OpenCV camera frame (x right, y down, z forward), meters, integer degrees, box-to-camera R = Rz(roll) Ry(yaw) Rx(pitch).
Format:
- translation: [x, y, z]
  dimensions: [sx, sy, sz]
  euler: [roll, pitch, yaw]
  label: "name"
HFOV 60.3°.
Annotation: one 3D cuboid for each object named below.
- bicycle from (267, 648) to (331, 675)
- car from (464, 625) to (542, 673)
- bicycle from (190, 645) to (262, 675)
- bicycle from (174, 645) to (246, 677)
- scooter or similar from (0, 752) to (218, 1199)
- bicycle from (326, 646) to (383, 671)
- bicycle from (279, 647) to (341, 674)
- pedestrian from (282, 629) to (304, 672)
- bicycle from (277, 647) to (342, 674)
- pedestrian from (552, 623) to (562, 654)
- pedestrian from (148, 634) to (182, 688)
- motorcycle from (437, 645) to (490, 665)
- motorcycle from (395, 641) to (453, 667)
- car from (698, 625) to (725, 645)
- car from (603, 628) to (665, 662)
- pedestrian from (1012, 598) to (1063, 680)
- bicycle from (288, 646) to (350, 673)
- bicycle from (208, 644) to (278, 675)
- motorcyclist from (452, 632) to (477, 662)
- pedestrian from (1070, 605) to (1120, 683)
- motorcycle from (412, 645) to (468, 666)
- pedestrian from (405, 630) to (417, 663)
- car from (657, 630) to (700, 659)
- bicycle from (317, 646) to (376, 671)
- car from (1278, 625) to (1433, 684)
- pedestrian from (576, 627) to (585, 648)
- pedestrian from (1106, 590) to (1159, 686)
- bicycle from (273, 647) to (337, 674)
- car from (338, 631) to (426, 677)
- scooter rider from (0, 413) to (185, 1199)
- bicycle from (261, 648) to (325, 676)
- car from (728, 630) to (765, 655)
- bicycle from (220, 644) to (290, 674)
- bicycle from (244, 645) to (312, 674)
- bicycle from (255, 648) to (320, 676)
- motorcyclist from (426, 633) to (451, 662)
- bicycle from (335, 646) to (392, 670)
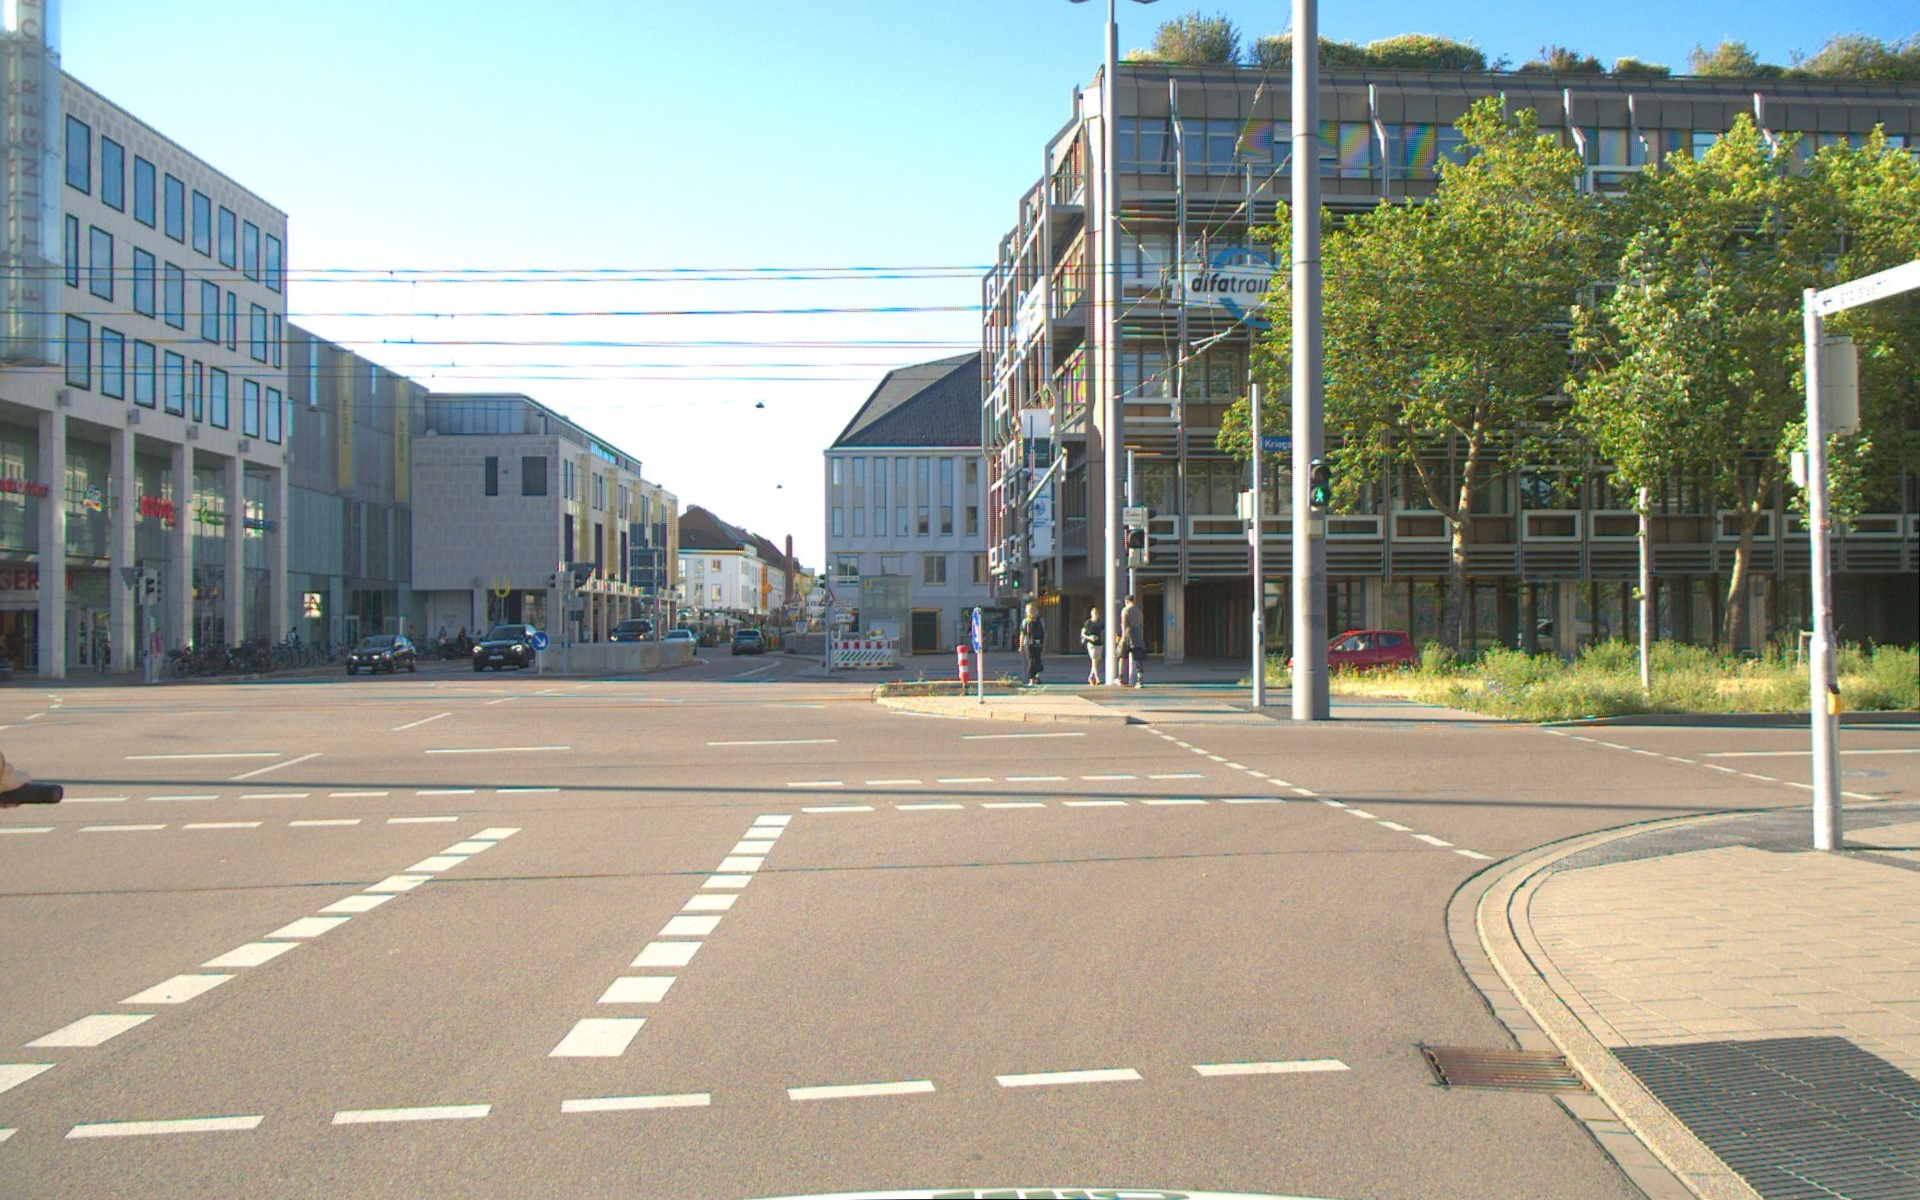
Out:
- translation: [-27.563, 2.563, 69.004]
  dimensions: [2.416, 1.130, 0.684]
  euler: [0, -1, 1]
  label: "bicycle"
- translation: [-16.782, 1.789, 60.920]
  dimensions: [1.899, 1.707, 4.290]
  euler: [0, -1, -4]
  label: "car"
- translation: [-27.619, 2.256, 62.259]
  dimensions: [2.417, 1.130, 0.684]
  euler: [0, -1, 1]
  label: "bicycle"
- translation: [-27.607, 2.239, 60.913]
  dimensions: [2.353, 1.132, 0.658]
  euler: [0, -1, 0]
  label: "bicycle"
- translation: [-1.888, 0.914, 2.787]
  dimensions: [0.629, 1.196, 1.483]
  euler: [1, -1, -2]
  label: "scooter or similar"
- translation: [-28.154, 2.705, 76.969]
  dimensions: [2.416, 1.130, 0.660]
  euler: [0, -1, 1]
  label: "bicycle"
- translation: [-28.130, 2.600, 71.564]
  dimensions: [2.416, 1.130, 0.684]
  euler: [0, -1, 1]
  label: "bicycle"
- translation: [-31.180, 2.362, 77.327]
  dimensions: [0.933, 2.017, 1.000]
  euler: [1, -1, -23]
  label: "pedestrian"
- translation: [-27.808, 2.588, 70.727]
  dimensions: [2.416, 1.130, 0.835]
  euler: [0, -1, 1]
  label: "bicycle"
- translation: [-26.531, 2.538, 108.952]
  dimensions: [0.605, 2.049, 0.476]
  euler: [2, -1, -14]
  label: "pedestrian"
- translation: [-26.090, 2.000, 54.308]
  dimensions: [0.735, 1.770, 0.756]
  euler: [0, -1, -2]
  label: "pedestrian"
- translation: [-27.031, 2.983, 90.137]
  dimensions: [2.616, 1.013, 0.915]
  euler: [1, -1, -7]
  label: "motorcycle"
- translation: [-27.314, 2.747, 84.330]
  dimensions: [2.616, 1.239, 0.915]
  euler: [1, -1, -7]
  label: "motorcycle"
- translation: [-24.561, 3.483, 163.852]
  dimensions: [2.131, 1.906, 5.611]
  euler: [0, -2, -3]
  label: "car"
- translation: [-17.123, 2.358, 87.161]
  dimensions: [2.129, 1.722, 5.486]
  euler: [0, -2, 0]
  label: "car"
- translation: [1.520, 0.747, 32.546]
  dimensions: [0.878, 1.576, 0.923]
  euler: [0, 0, -6]
  label: "pedestrian"
- translation: [-28.211, 2.624, 72.816]
  dimensions: [2.416, 1.130, 0.835]
  euler: [0, -1, 1]
  label: "bicycle"
- translation: [-27.563, 2.285, 63.623]
  dimensions: [2.416, 1.130, 0.684]
  euler: [0, -1, 3]
  label: "bicycle"
- translation: [-26.999, 2.550, 90.162]
  dimensions: [1.115, 1.602, 0.915]
  euler: [1, -1, -6]
  label: "motorcyclist"
- translation: [3.390, 1.102, 41.594]
  dimensions: [0.994, 1.944, 1.048]
  euler: [0, -1, -11]
  label: "pedestrian"
- translation: [-27.246, 2.909, 86.691]
  dimensions: [2.616, 1.013, 0.915]
  euler: [1, -1, -7]
  label: "motorcycle"
- translation: [-35.069, 2.964, 105.668]
  dimensions: [0.605, 2.049, 0.476]
  euler: [2, -1, -14]
  label: "pedestrian"
- translation: [-17.562, 2.793, 103.415]
  dimensions: [2.131, 1.722, 5.609]
  euler: [0, -2, -5]
  label: "car"
- translation: [-28.233, 2.699, 76.162]
  dimensions: [2.416, 1.130, 0.835]
  euler: [0, -1, 1]
  label: "bicycle"
- translation: [10.914, 1.533, 45.831]
  dimensions: [3.790, 1.512, 1.845]
  euler: [-1, -4, -3]
  label: "car"
- translation: [-25.756, 2.541, 112.303]
  dimensions: [0.479, 1.380, 0.563]
  euler: [1, -1, -5]
  label: "pedestrian"
- translation: [3.247, 0.711, 31.129]
  dimensions: [0.839, 1.774, 0.738]
  euler: [0, 0, -8]
  label: "pedestrian"
- translation: [-27.618, 2.556, 69.781]
  dimensions: [2.416, 1.130, 0.684]
  euler: [0, -1, 1]
  label: "bicycle"
- translation: [-21.711, 1.997, 62.319]
  dimensions: [1.898, 1.608, 4.293]
  euler: [0, -1, -1]
  label: "car"
- translation: [-1.888, 0.480, 2.793]
  dimensions: [0.629, 1.571, 1.116]
  euler: [1, -1, -2]
  label: "scooter rider"
- translation: [-27.557, 2.548, 68.350]
  dimensions: [2.416, 1.130, 0.537]
  euler: [0, -1, 1]
  label: "bicycle"
- translation: [-12.953, 2.596, 100.579]
  dimensions: [1.898, 1.475, 4.259]
  euler: [0, -2, -3]
  label: "car"
- translation: [-27.462, 2.289, 64.431]
  dimensions: [2.416, 1.130, 0.684]
  euler: [0, -1, 1]
  label: "bicycle"
- translation: [-27.295, 2.395, 66.218]
  dimensions: [2.416, 1.130, 0.684]
  euler: [0, -1, 1]
  label: "bicycle"
- translation: [-27.566, 2.537, 67.778]
  dimensions: [2.416, 1.130, 0.593]
  euler: [0, -1, 1]
  label: "bicycle"
- translation: [-27.318, 2.501, 86.680]
  dimensions: [1.016, 1.497, 0.915]
  euler: [1, -1, -6]
  label: "motorcyclist"
- translation: [-28.042, 2.727, 77.744]
  dimensions: [2.416, 1.130, 0.660]
  euler: [0, -1, 1]
  label: "bicycle"
